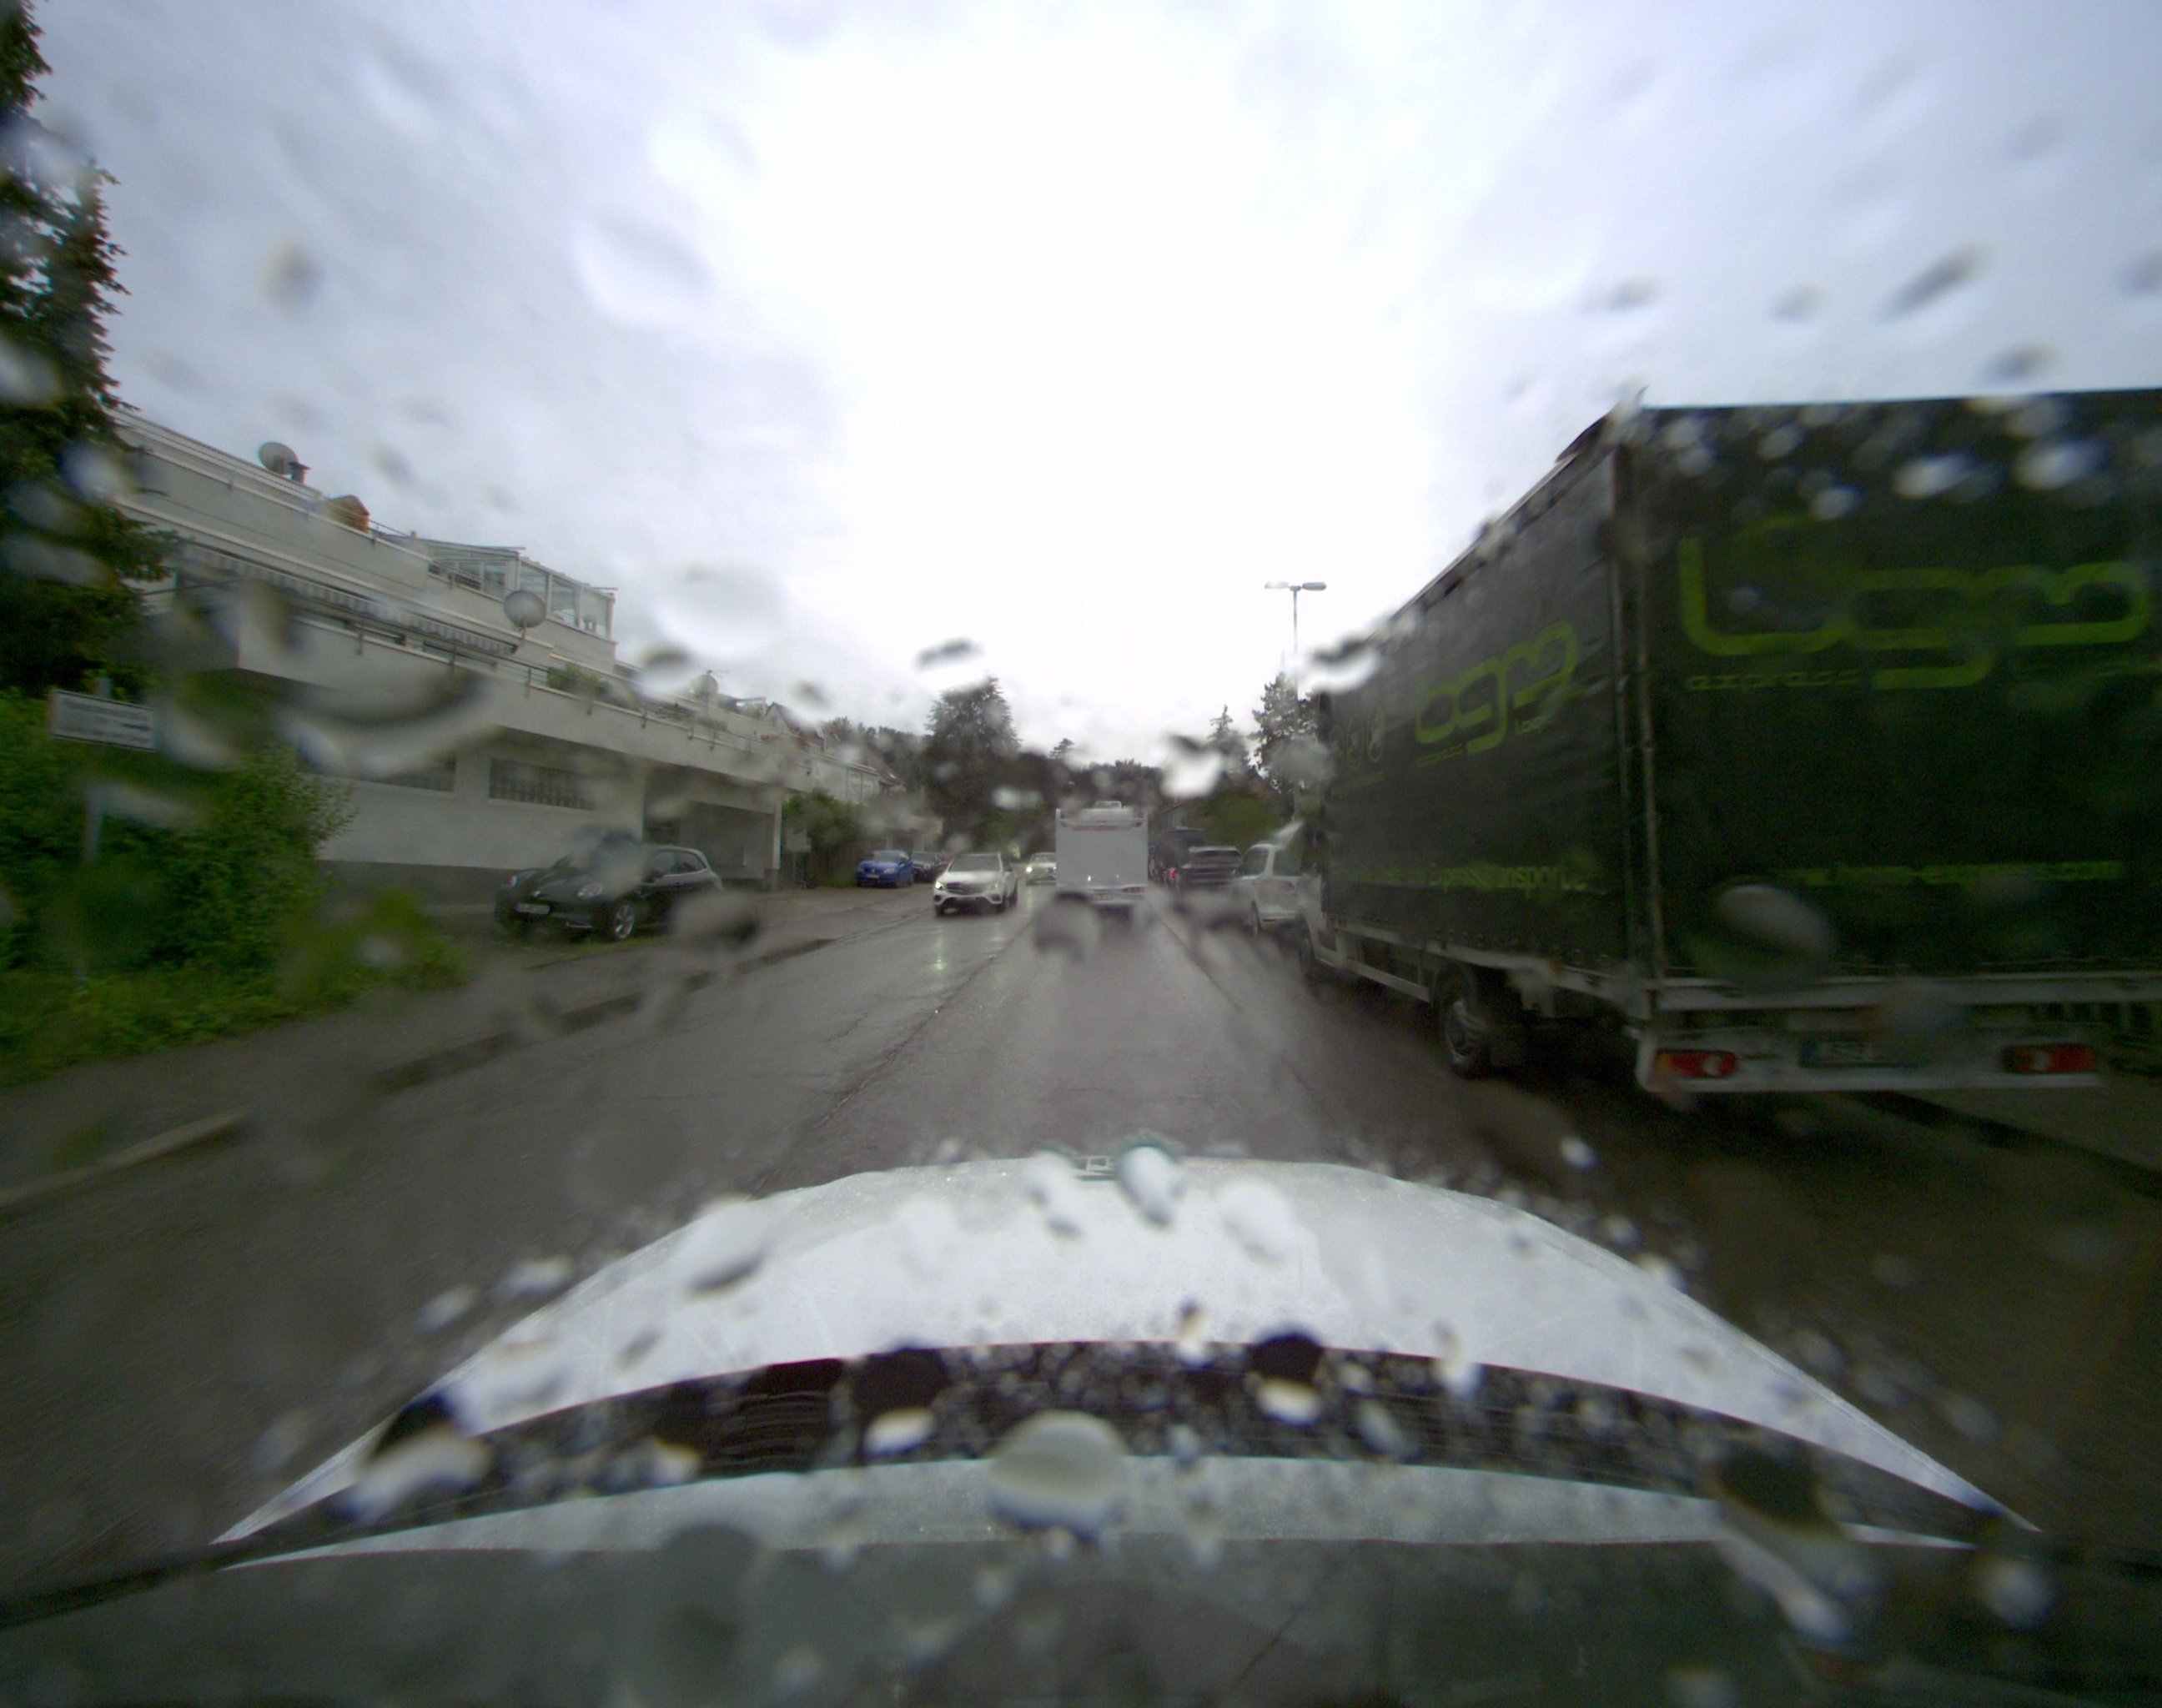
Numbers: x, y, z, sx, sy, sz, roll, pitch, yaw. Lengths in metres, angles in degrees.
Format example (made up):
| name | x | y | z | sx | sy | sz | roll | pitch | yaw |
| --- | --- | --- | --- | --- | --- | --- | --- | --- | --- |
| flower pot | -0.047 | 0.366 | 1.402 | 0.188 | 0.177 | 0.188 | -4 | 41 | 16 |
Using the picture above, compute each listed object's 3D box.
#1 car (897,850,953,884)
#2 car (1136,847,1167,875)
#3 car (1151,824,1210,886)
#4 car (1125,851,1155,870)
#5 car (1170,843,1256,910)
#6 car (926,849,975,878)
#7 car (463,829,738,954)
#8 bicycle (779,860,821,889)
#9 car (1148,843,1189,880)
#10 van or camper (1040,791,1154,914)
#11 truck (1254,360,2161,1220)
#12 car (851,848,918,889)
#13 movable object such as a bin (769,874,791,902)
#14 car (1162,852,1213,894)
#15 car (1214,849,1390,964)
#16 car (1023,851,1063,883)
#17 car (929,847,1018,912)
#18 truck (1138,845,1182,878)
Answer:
| name | x | y | z | sx | sy | sz | roll | pitch | yaw |
| --- | --- | --- | --- | --- | --- | --- | --- | --- | --- |
| car | -7.263 | 0.564 | 38.318 | 1.627 | 1.396 | 4.241 | 3 | 0 | 2 |
| car | 5.044 | 0.482 | 58.717 | 1.853 | 1.921 | 5.080 | 0 | 0 | 1 |
| car | 4.365 | 0.025 | 36.491 | 2.024 | 2.505 | 5.958 | -1 | 0 | 1 |
| car | 4.625 | 0.461 | 64.580 | 1.683 | 1.457 | 4.049 | 0 | 0 | -6 |
| car | 3.646 | 0.568 | 23.219 | 1.928 | 1.672 | 4.698 | -1 | 0 | 3 |
| car | -7.361 | 0.486 | 46.394 | 1.767 | 1.437 | 4.590 | 4 | 0 | 2 |
| car | -7.682 | 0.513 | 13.596 | 1.681 | 1.588 | 4.202 | 6 | 1 | 5 |
| bicycle | -10.178 | 0.735 | 29.493 | 1.549 | 1.007 | 0.481 | 2 | 0 | 30 |
| car | 4.621 | 0.372 | 43.689 | 1.820 | 1.842 | 5.273 | -1 | 0 | 2 |
| van or camper | 0.500 | 0.036 | 22.039 | 2.605 | 2.853 | 6.033 | 1 | -2 | 2 |
| truck | 3.508 | -0.236 | 7.178 | 2.427 | 3.335 | 7.967 | -1 | 0 | 2 |
| car | -7.806 | 0.529 | 32.684 | 1.602 | 1.434 | 3.959 | 3 | 1 | 1 |
| movable object such as a bin | -11.754 | 1.311 | 31.793 | 0.542 | 1.041 | 0.564 | 1 | 0 | 15 |
| car | 3.859 | 0.646 | 29.991 | 1.582 | 1.429 | 3.801 | -1 | 0 | 3 |
| car | 3.785 | 0.805 | 15.081 | 1.839 | 1.683 | 5.640 | -1 | 0 | 2 |
| car | -1.945 | 0.651 | 43.146 | 1.792 | 1.567 | 4.386 | 0 | 0 | 2 |
| car | -2.859 | 0.629 | 22.622 | 1.900 | 1.607 | 4.427 | 0 | 0 | 0 |
| truck | 4.775 | 0.407 | 50.049 | 2.106 | 1.852 | 6.619 | 1 | 0 | 1 |
